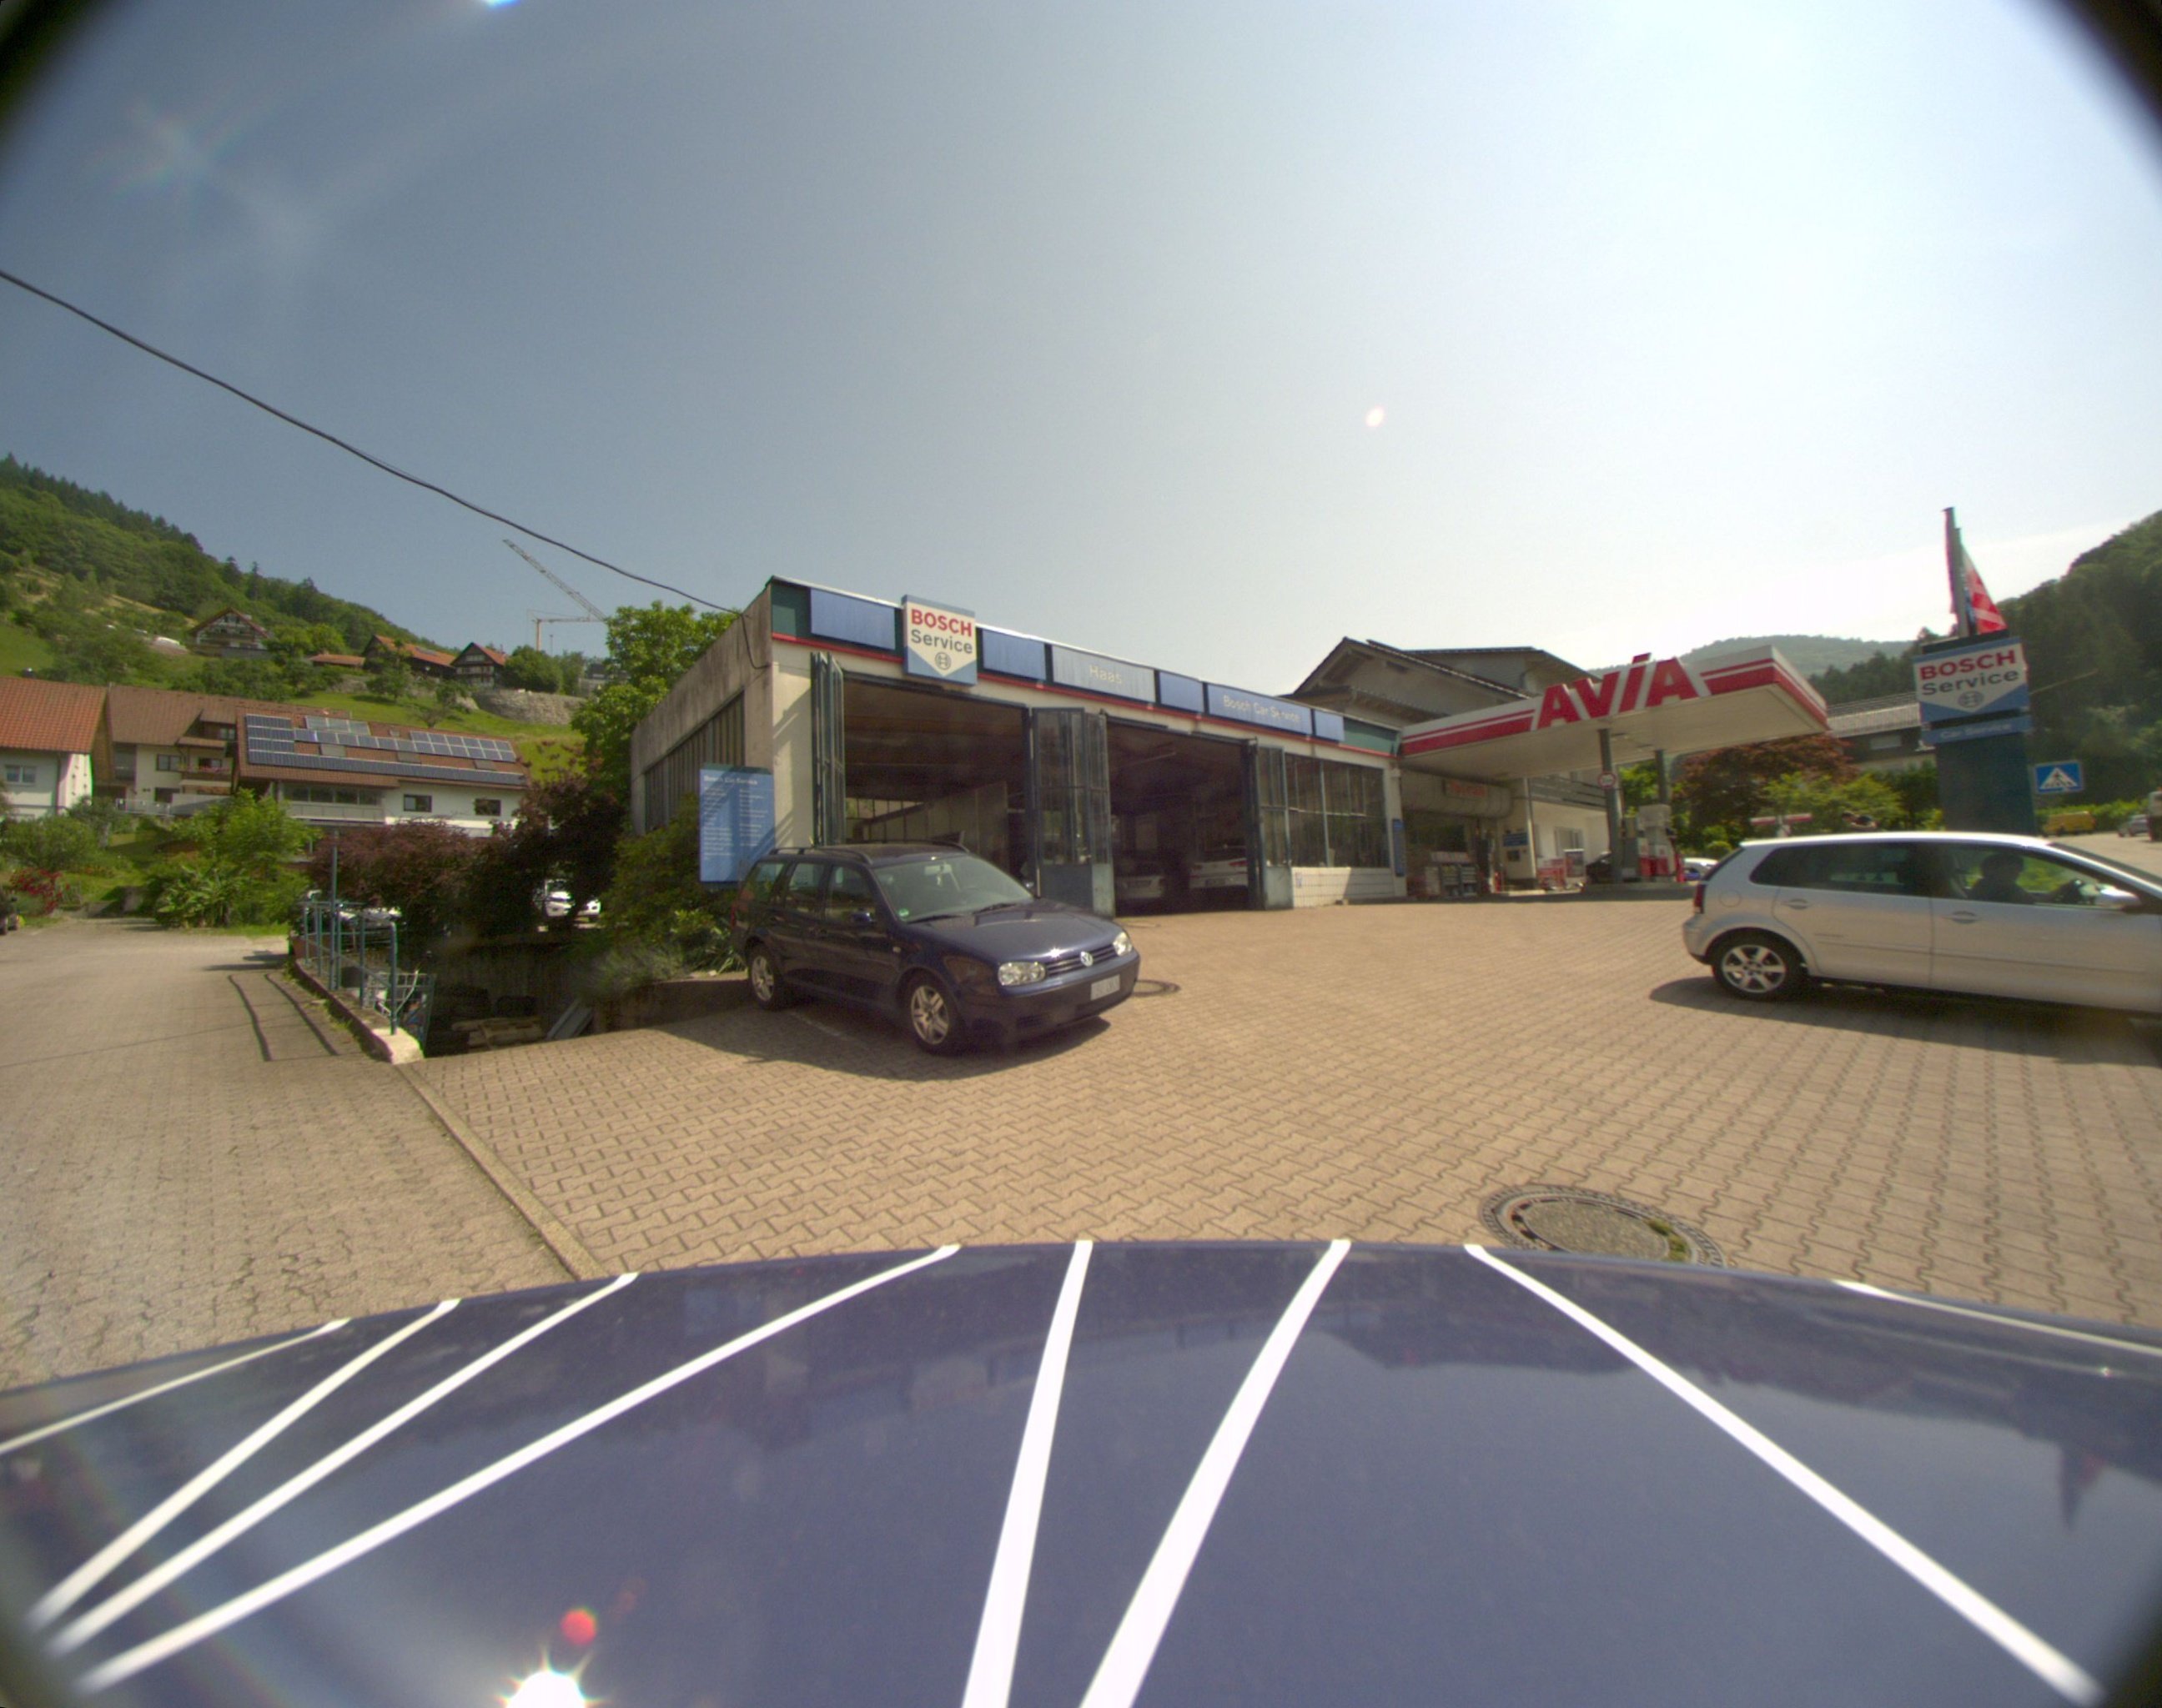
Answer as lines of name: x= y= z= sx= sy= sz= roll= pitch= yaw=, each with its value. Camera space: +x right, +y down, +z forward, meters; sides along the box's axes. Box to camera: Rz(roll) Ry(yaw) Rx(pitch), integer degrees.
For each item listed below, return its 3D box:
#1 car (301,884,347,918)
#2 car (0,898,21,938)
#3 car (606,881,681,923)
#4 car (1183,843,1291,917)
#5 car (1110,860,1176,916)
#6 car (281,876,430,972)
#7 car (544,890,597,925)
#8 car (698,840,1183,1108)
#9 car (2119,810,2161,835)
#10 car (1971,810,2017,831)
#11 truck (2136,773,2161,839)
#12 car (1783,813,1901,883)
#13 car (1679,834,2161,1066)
car: x=-33.811 y=2.068 z=33.957 sx=3.205 sy=1.363 sz=1.347 roll=-1 pitch=1 yaw=45
car: x=-32.894 y=1.910 z=22.754 sx=2.856 sy=1.057 sz=1.115 roll=0 pitch=-2 yaw=40
car: x=-18.838 y=2.014 z=32.649 sx=3.900 sy=1.546 sz=1.683 roll=-2 pitch=1 yaw=44
car: x=4.201 y=0.601 z=19.984 sx=1.602 sy=1.678 sz=3.937 roll=-2 pitch=1 yaw=30
car: x=1.843 y=1.005 z=21.690 sx=1.546 sy=1.397 sz=3.483 roll=-3 pitch=-4 yaw=9
car: x=-15.686 y=1.357 z=16.334 sx=4.864 sy=1.635 sz=2.004 roll=-2 pitch=1 yaw=43
car: x=-21.105 y=2.171 z=31.379 sx=1.471 sy=1.251 sz=3.379 roll=0 pitch=-1 yaw=-40
car: x=-1.459 y=0.746 z=6.619 sx=4.319 sy=1.536 sz=1.803 roll=-1 pitch=2 yaw=42
car: x=72.254 y=-2.132 z=51.501 sx=3.605 sy=1.565 sz=1.783 roll=-3 pitch=1 yaw=-44
car: x=84.187 y=-3.079 z=70.130 sx=1.861 sy=1.767 sz=3.710 roll=-2 pitch=1 yaw=36
truck: x=62.506 y=-2.796 z=43.084 sx=7.787 sy=3.560 sz=2.646 roll=-3 pitch=-1 yaw=-39
car: x=19.069 y=-0.194 z=18.992 sx=3.918 sy=1.568 sz=1.693 roll=-3 pitch=1 yaw=-39
car: x=7.240 y=0.616 z=5.940 sx=1.598 sy=1.474 sz=3.747 roll=-3 pitch=2 yaw=-37
